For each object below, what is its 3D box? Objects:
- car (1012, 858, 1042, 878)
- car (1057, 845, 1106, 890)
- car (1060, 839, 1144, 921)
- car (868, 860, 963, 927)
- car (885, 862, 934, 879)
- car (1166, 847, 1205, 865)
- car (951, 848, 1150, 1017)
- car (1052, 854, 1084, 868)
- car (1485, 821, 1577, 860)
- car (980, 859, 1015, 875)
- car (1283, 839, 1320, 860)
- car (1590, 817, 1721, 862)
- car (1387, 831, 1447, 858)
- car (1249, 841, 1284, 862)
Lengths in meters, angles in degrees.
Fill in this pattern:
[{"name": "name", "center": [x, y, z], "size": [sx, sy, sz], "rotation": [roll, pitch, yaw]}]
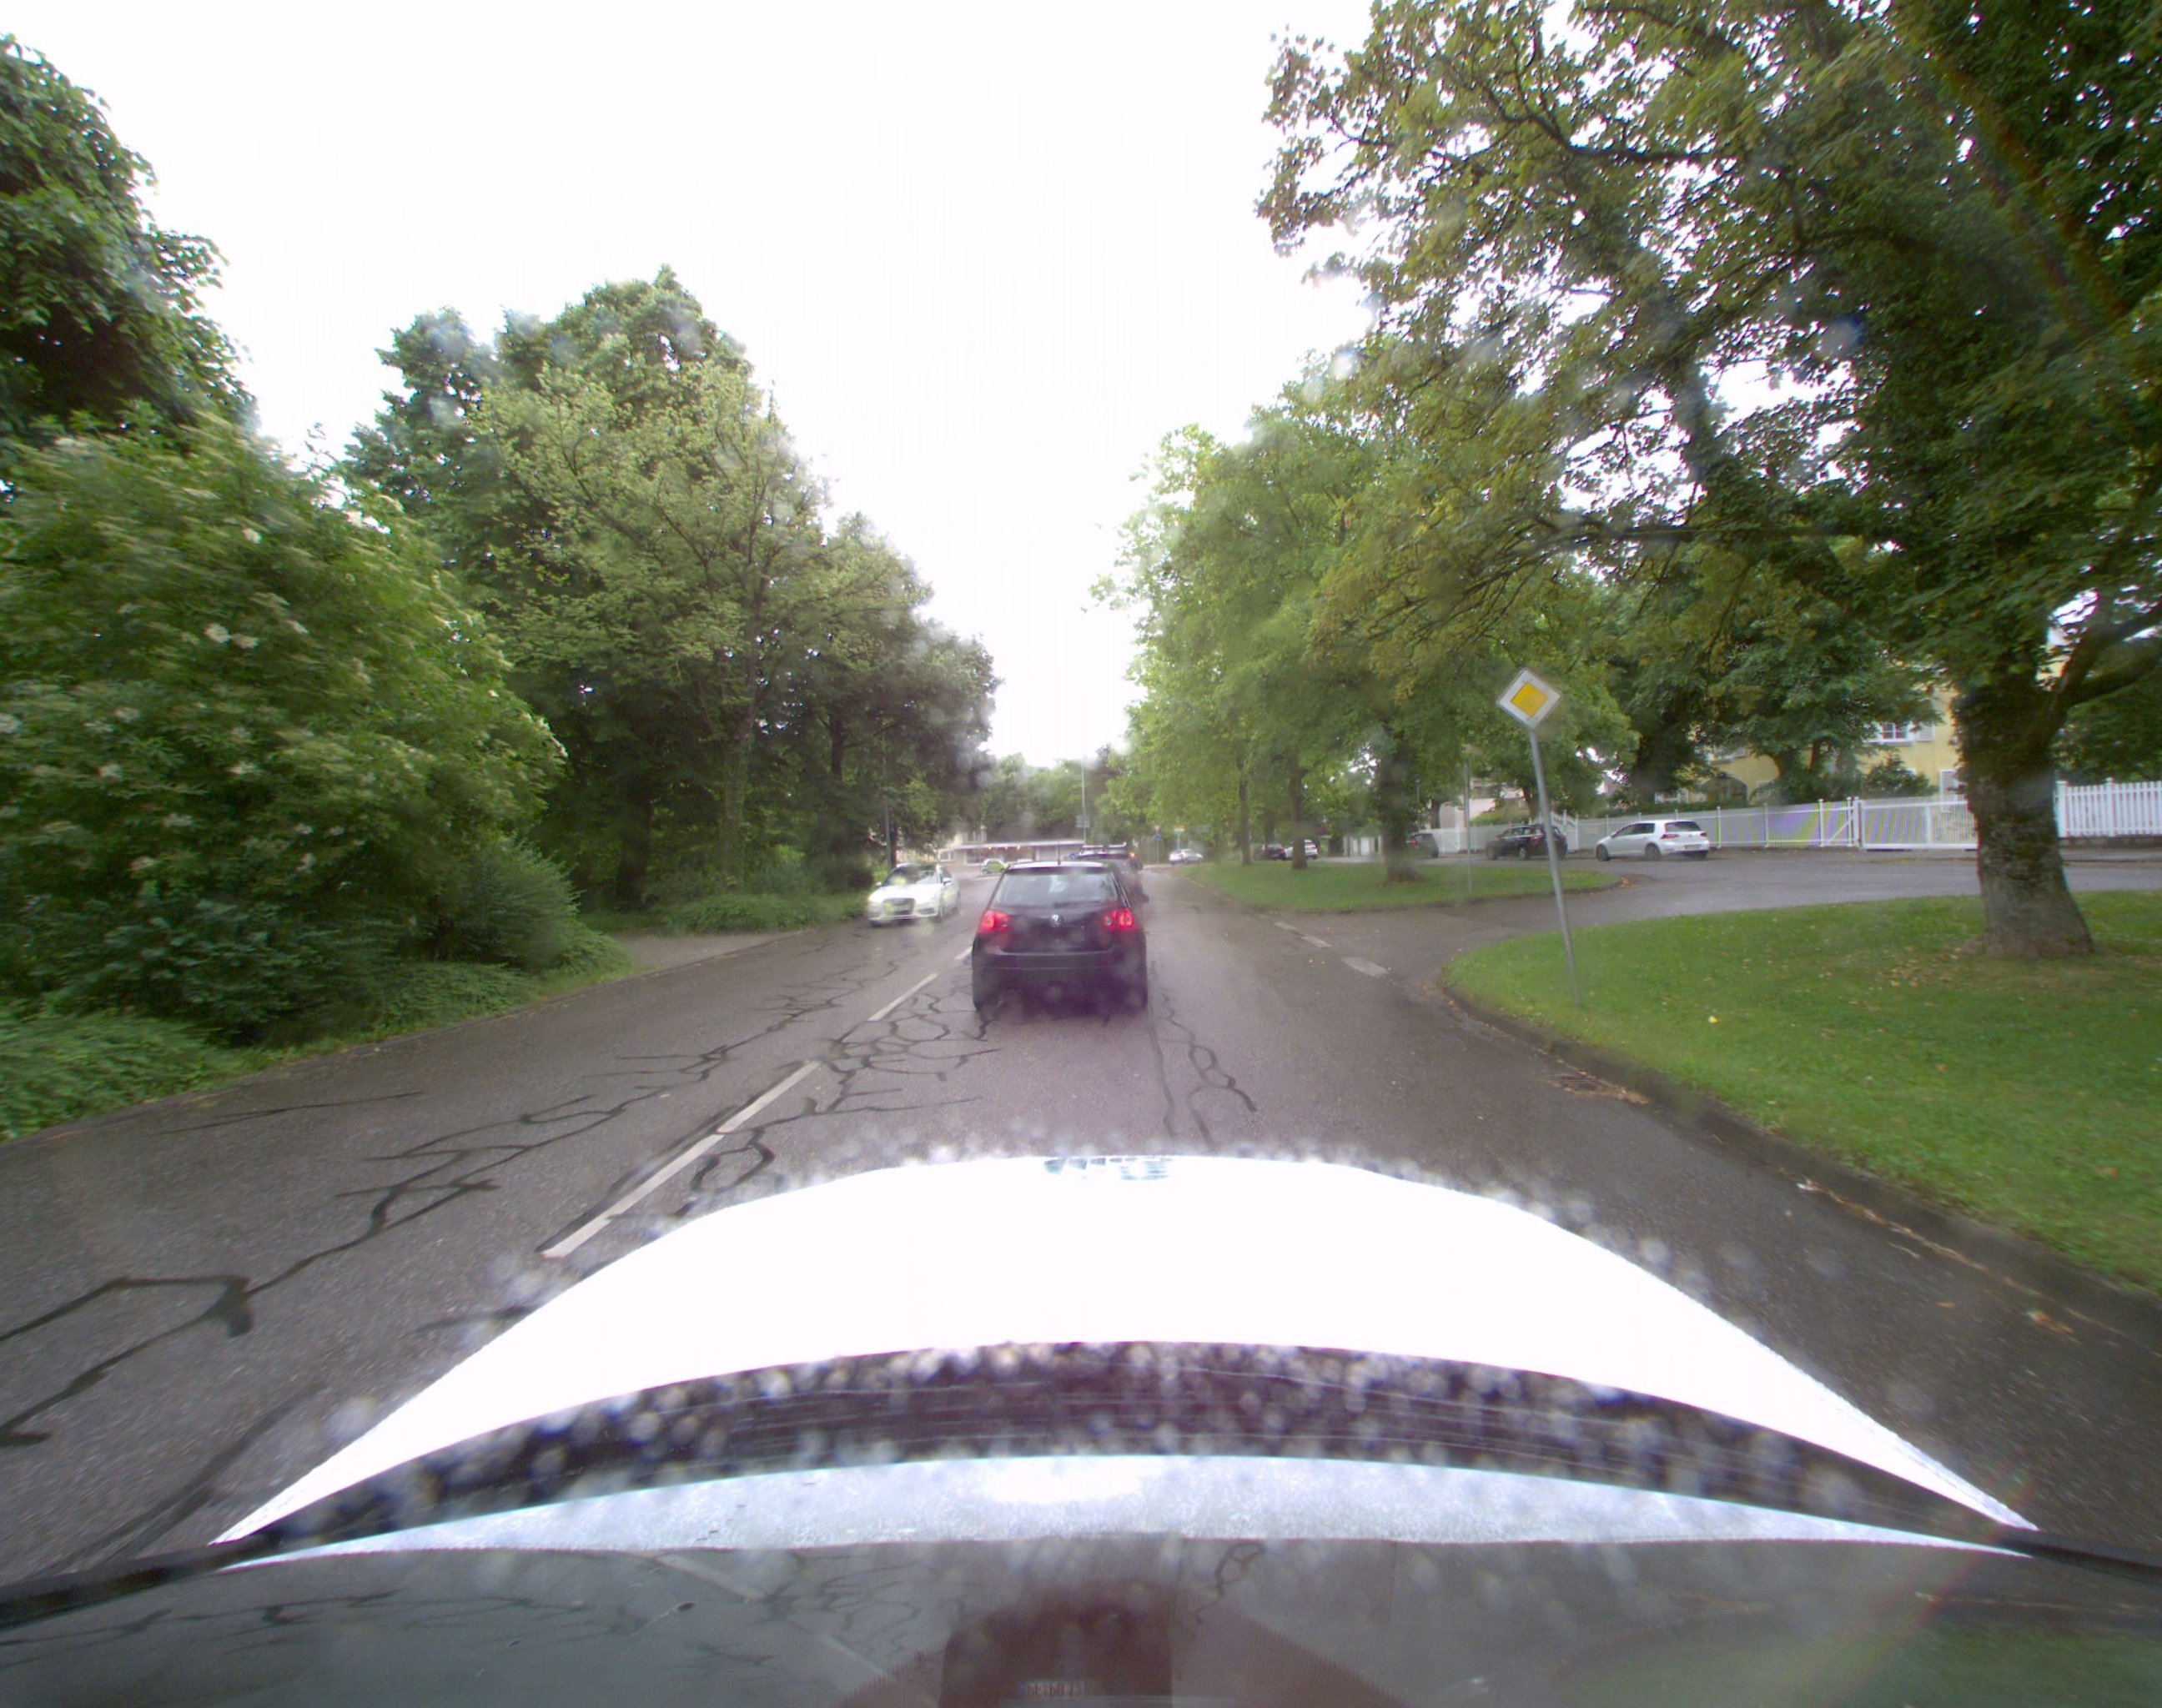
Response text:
[{"name": "car", "center": [-4.302, 1.108, 64.214], "size": [1.798, 1.393, 3.964], "rotation": [-4, 0, -11]}, {"name": "car", "center": [0.087, 0.580, 35.232], "size": [1.848, 1.785, 4.003], "rotation": [-2, -1, 3]}, {"name": "car", "center": [0.574, 0.599, 20.487], "size": [1.848, 1.784, 4.003], "rotation": [-2, 0, 3]}, {"name": "car", "center": [-4.187, 0.944, 21.172], "size": [1.603, 1.427, 4.007], "rotation": [-3, 1, 0]}, {"name": "car", "center": [-16.676, 1.587, 79.196], "size": [4.501, 1.419, 1.838], "rotation": [-3, 0, -14]}, {"name": "car", "center": [11.398, 0.193, 88.611], "size": [4.022, 1.706, 1.976], "rotation": [-3, -1, -41]}, {"name": "car", "center": [-0.192, 0.732, 9.272], "size": [1.791, 1.515, 3.756], "rotation": [-1, -1, 3]}, {"name": "car", "center": [-1.578, 0.916, 100.279], "size": [3.625, 1.513, 1.723], "rotation": [-3, -1, 37]}, {"name": "car", "center": [19.963, -0.601, 36.336], "size": [1.796, 1.529, 4.112], "rotation": [-3, 1, 0]}, {"name": "car", "center": [-8.099, 1.266, 78.885], "size": [3.106, 1.310, 1.541], "rotation": [-3, 0, 3]}, {"name": "car", "center": [16.590, -0.369, 61.458], "size": [1.796, 1.406, 4.002], "rotation": [-4, 0, 2]}, {"name": "car", "center": [20.234, -0.490, 28.899], "size": [1.612, 1.409, 4.006], "rotation": [-3, 1, -3]}, {"name": "car", "center": [19.898, -0.574, 48.461], "size": [1.796, 1.411, 4.112], "rotation": [-3, 1, 0]}, {"name": "car", "center": [13.950, -0.195, 61.429], "size": [1.796, 1.385, 4.002], "rotation": [-4, 0, 2]}]
